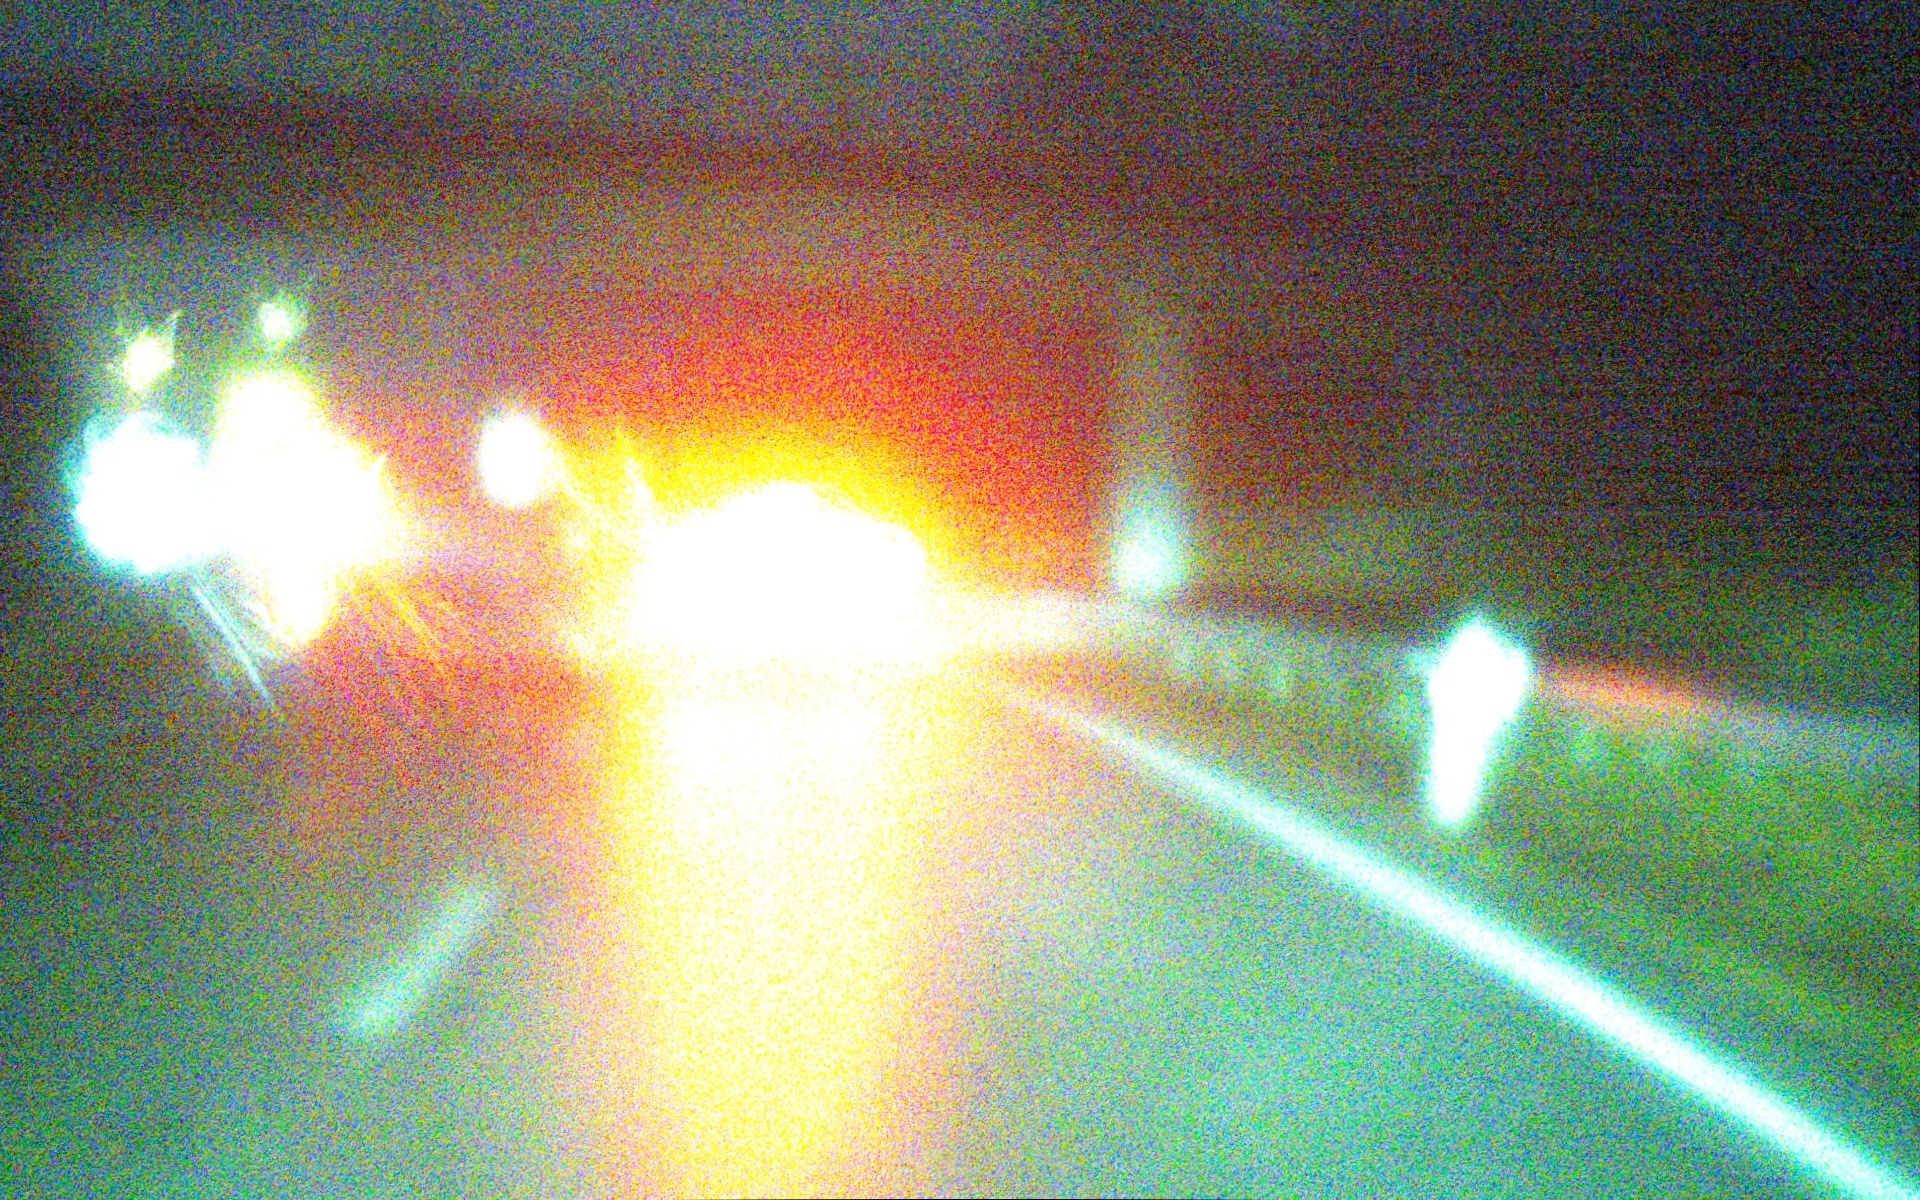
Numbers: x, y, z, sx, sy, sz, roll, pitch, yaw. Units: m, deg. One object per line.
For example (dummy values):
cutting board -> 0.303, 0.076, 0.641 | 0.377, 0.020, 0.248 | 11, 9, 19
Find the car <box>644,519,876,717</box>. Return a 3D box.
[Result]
car -> -1.954, 0.103, 32.508 | 1.993, 1.622, 4.986 | 1, 2, -5
